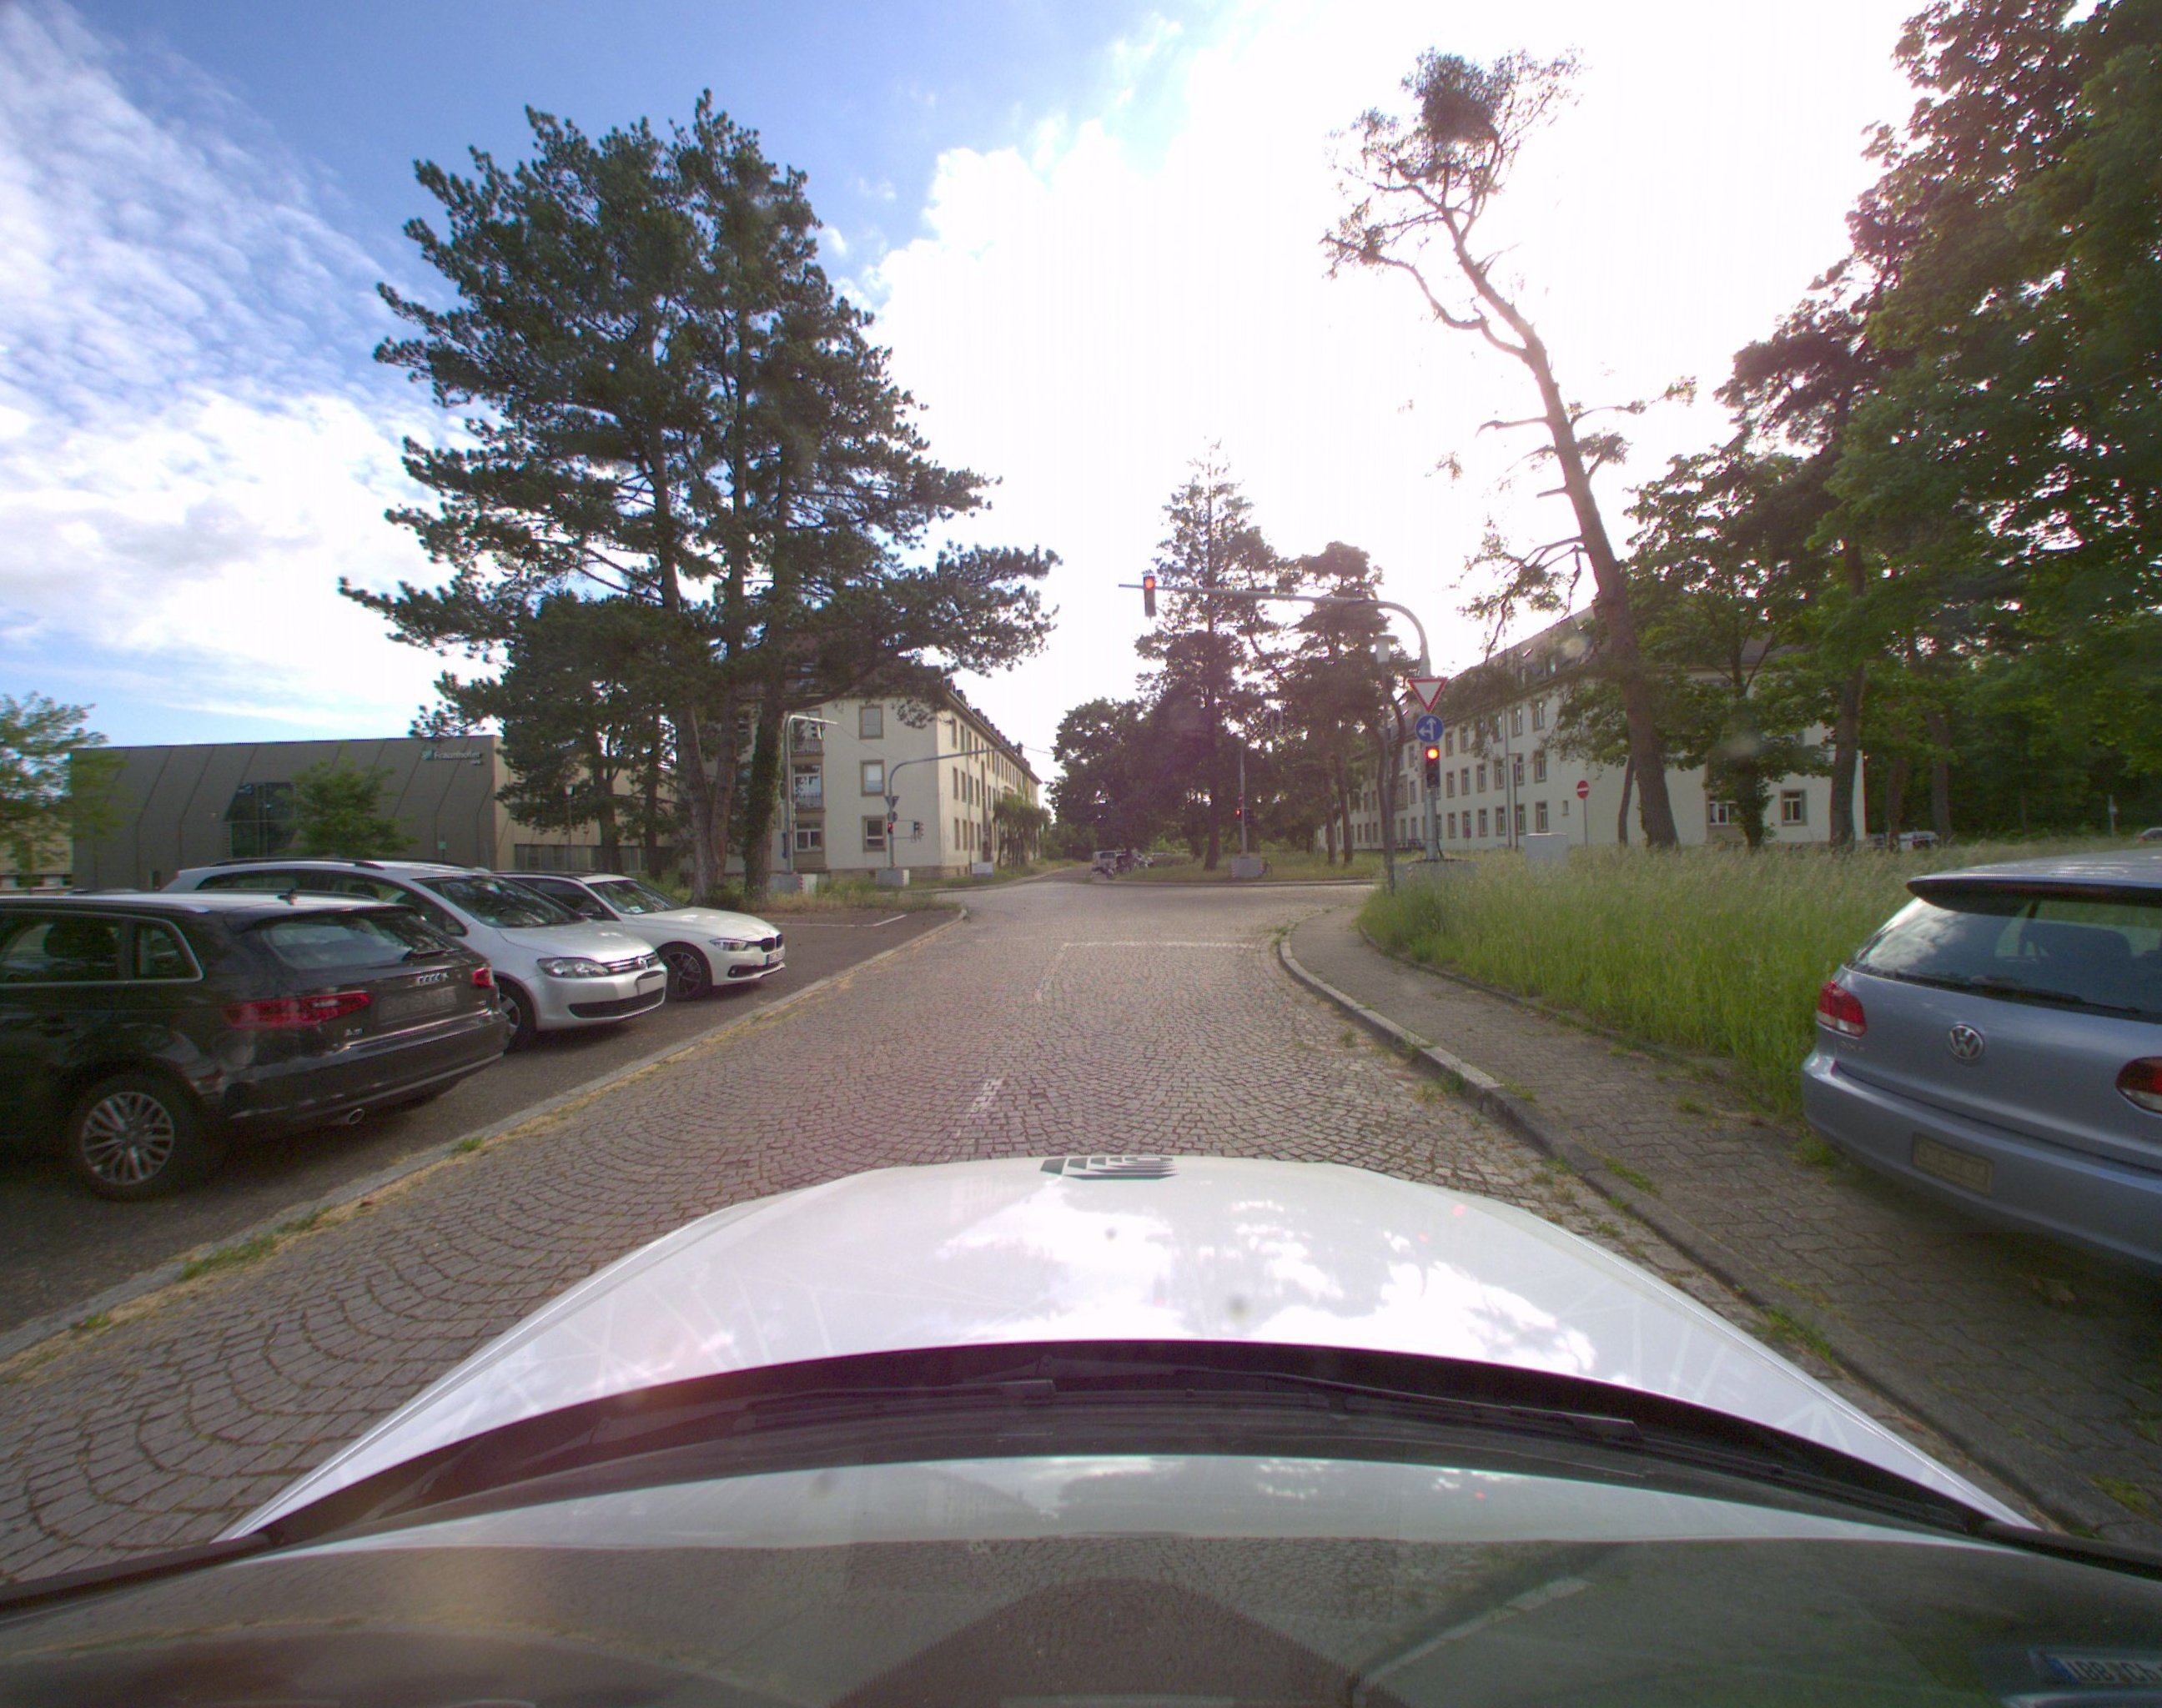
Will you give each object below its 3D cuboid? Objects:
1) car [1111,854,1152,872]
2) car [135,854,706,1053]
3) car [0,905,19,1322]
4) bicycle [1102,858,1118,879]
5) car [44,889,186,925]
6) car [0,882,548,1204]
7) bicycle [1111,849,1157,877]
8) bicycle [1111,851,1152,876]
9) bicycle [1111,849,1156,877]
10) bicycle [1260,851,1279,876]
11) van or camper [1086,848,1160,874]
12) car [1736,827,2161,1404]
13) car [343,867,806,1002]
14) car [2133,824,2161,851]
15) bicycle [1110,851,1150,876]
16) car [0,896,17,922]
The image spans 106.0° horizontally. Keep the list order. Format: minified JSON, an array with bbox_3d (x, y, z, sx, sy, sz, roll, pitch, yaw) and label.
[{"bbox_3d":[4.079,0.693,66.141,3.131,1.354,1.618,-2,0,-4],"label":"car"},{"bbox_3d":[-5.816,0.822,7.562,3.819,1.607,1.735,0,0,-1],"label":"car"},{"bbox_3d":[-5.611,0.894,2.067,3.565,1.476,1.647,1,0,-1],"label":"car"},{"bbox_3d":[1.701,0.823,47.523,0.722,1.107,2.464,-6,-1,4],"label":"bicycle"},{"bbox_3d":[-46.898,2.533,39.676,1.749,1.414,4.138,-2,0,6],"label":"car"},{"bbox_3d":[-5.573,0.920,4.719,3.822,1.408,1.696,1,0,1],"label":"car"},{"bbox_3d":[3.370,0.546,51.756,2.769,1.694,1.119,-2,0,-4],"label":"bicycle"},{"bbox_3d":[3.497,0.677,56.516,2.761,1.694,1.122,0,0,6],"label":"bicycle"},{"bbox_3d":[3.396,0.575,52.950,2.771,1.694,1.118,-2,0,-5],"label":"bicycle"},{"bbox_3d":[9.189,0.444,39.760,0.720,1.169,2.743,0,0,9],"label":"bicycle"},{"bbox_3d":[3.602,0.598,69.738,6.036,1.949,1.992,-2,0,-12],"label":"van or camper"},{"bbox_3d":[4.717,0.617,2.627,3.828,1.471,1.642,-2,0,1],"label":"car"},{"bbox_3d":[-5.949,0.922,10.015,4.465,1.442,1.829,1,0,-2],"label":"car"},{"bbox_3d":[59.081,-0.888,43.389,3.971,1.398,1.564,0,0,2],"label":"car"},{"bbox_3d":[3.470,0.667,57.856,2.764,1.694,1.121,0,0,3],"label":"bicycle"},{"bbox_3d":[-55.981,2.855,40.055,1.598,1.272,4.204,-2,0,6],"label":"car"}]
